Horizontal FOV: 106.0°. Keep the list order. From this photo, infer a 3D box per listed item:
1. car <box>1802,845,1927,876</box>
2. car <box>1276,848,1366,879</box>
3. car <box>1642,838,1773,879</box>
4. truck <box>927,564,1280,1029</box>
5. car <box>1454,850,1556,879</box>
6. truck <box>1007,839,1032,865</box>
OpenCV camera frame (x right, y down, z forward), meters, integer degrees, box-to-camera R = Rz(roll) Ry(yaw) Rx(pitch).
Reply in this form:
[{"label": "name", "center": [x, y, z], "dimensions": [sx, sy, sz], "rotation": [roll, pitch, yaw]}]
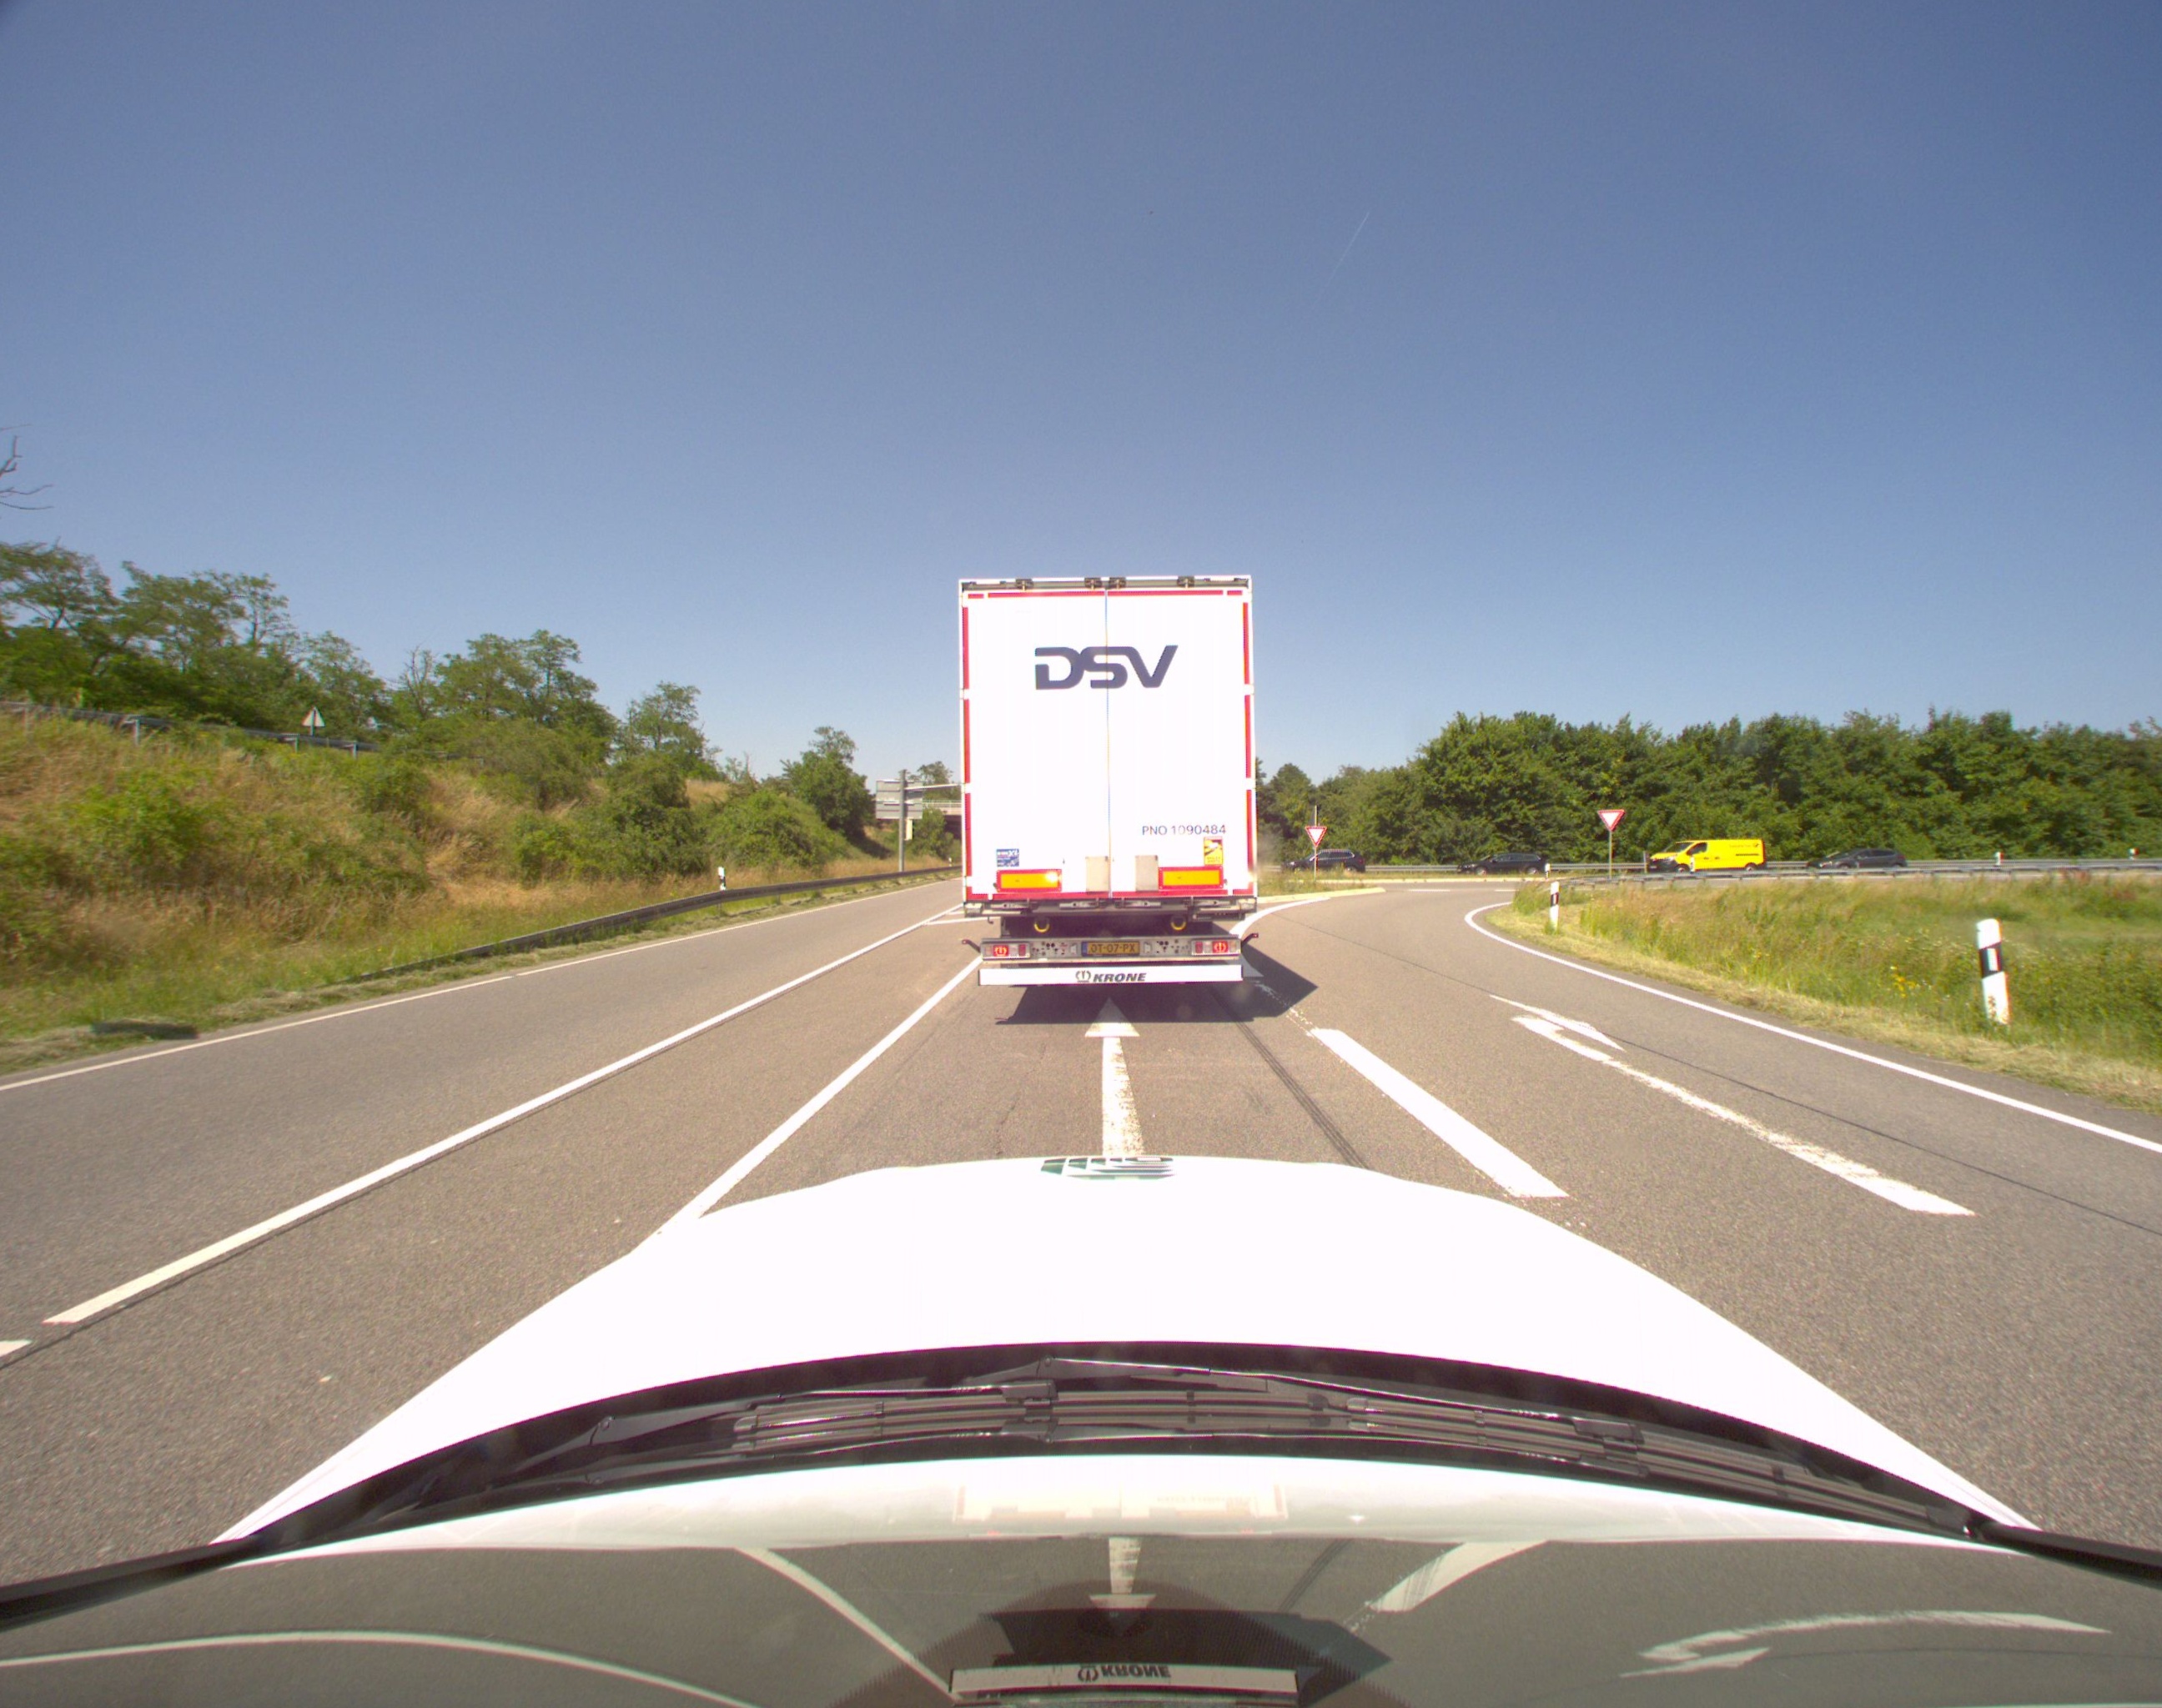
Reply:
[{"label": "car", "center": [41.192, 0.335, 42.889], "dimensions": [4.662, 1.514, 1.855], "rotation": [-1, -1, 3]}, {"label": "car", "center": [13.019, 0.518, 44.358], "dimensions": [4.466, 1.598, 1.769], "rotation": [-1, -1, 4]}, {"label": "car", "center": [33.030, 0.247, 43.071], "dimensions": [5.301, 2.014, 2.001], "rotation": [-1, -1, 2]}, {"label": "truck", "center": [0.300, -0.474, 11.907], "dimensions": [2.977, 3.942, 9.877], "rotation": [-1, 0, 1]}, {"label": "car", "center": [23.385, 0.573, 45.028], "dimensions": [4.655, 1.514, 1.858], "rotation": [-1, -1, 8]}, {"label": "truck", "center": [-8.493, -0.201, 113.470], "dimensions": [2.634, 3.538, 7.893], "rotation": [-1, -1, 2]}]
